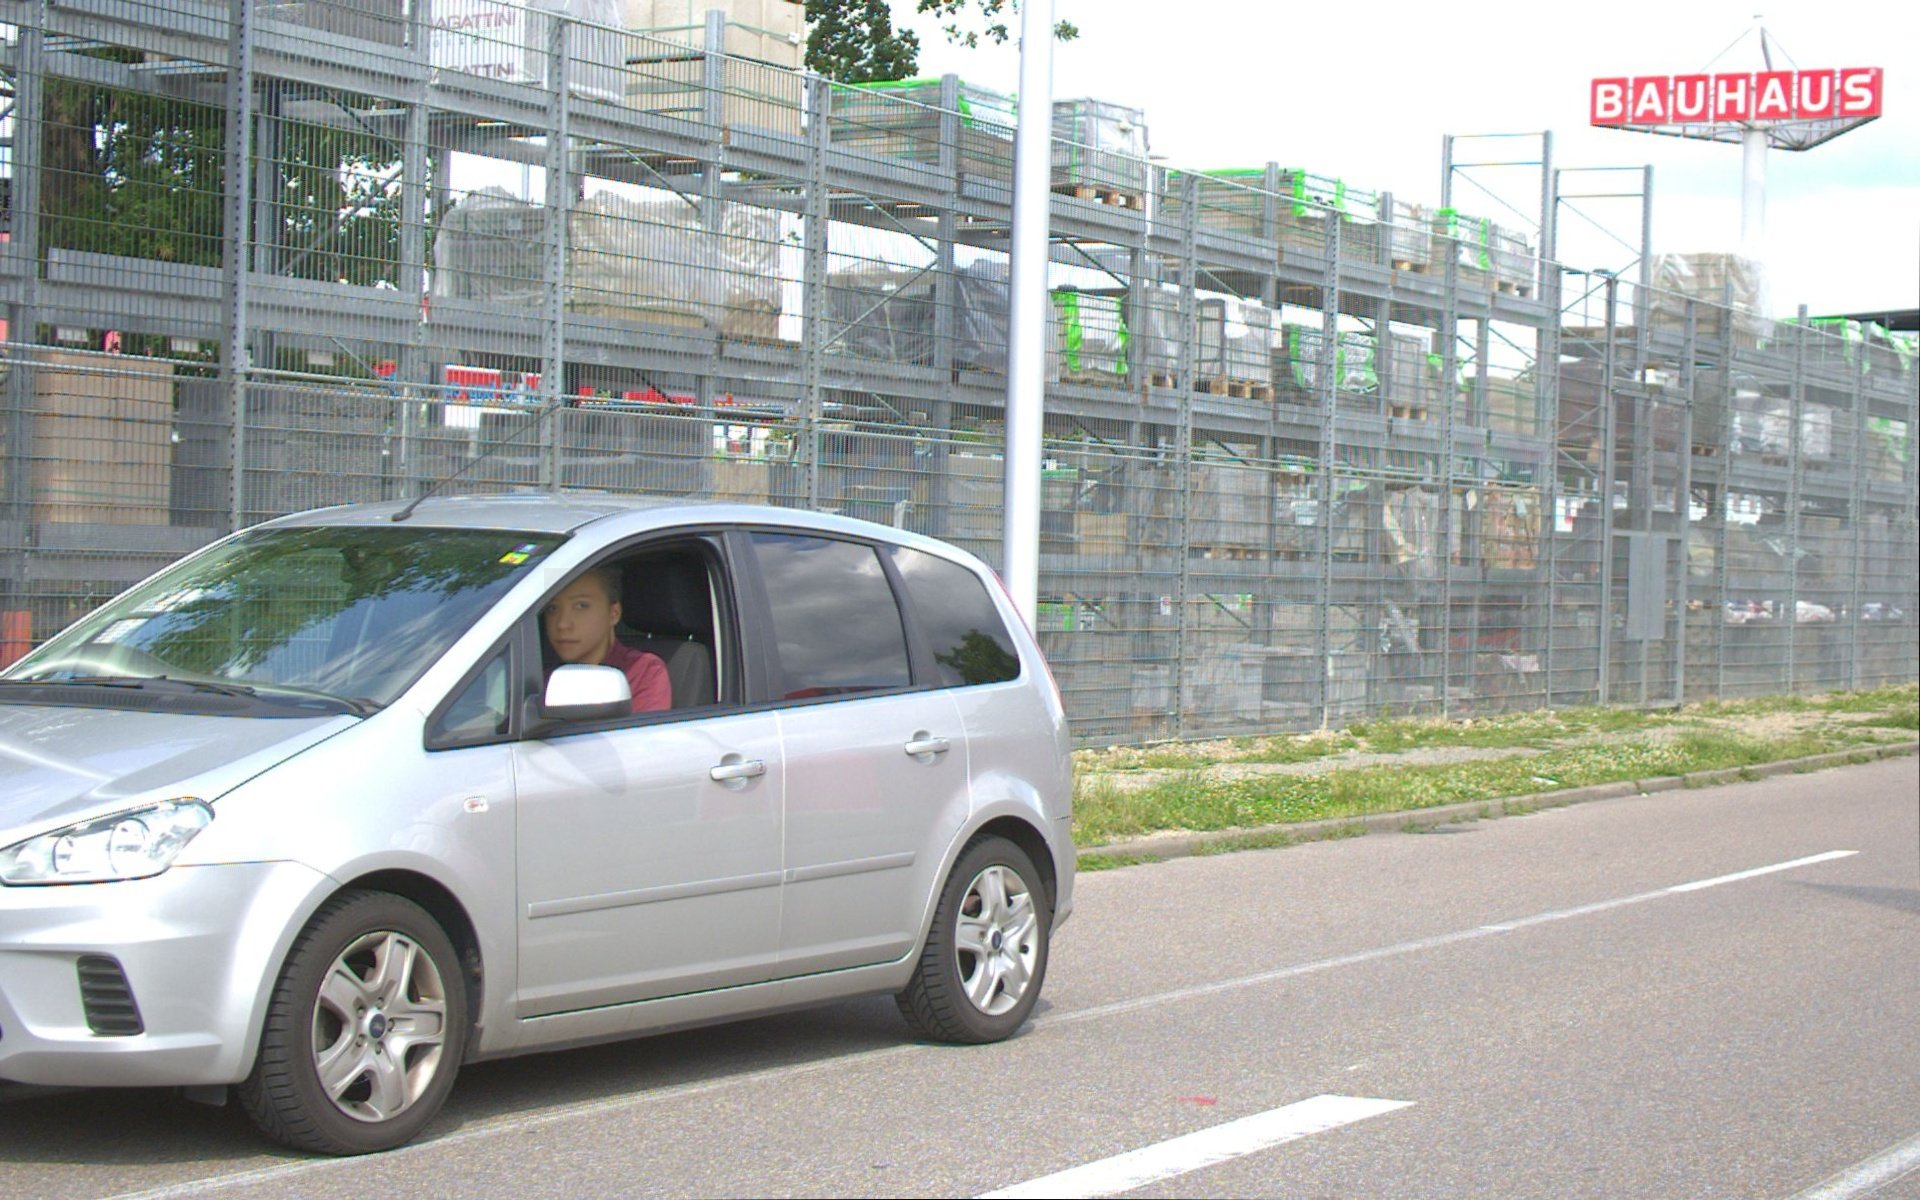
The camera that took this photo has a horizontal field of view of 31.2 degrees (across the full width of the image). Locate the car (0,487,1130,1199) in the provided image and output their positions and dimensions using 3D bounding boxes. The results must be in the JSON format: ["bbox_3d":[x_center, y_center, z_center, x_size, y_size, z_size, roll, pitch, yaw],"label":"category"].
[{"bbox_3d":[-1.366,0.531,9.358,1.721,1.559,4.201,2,1,33],"label":"car"}]
